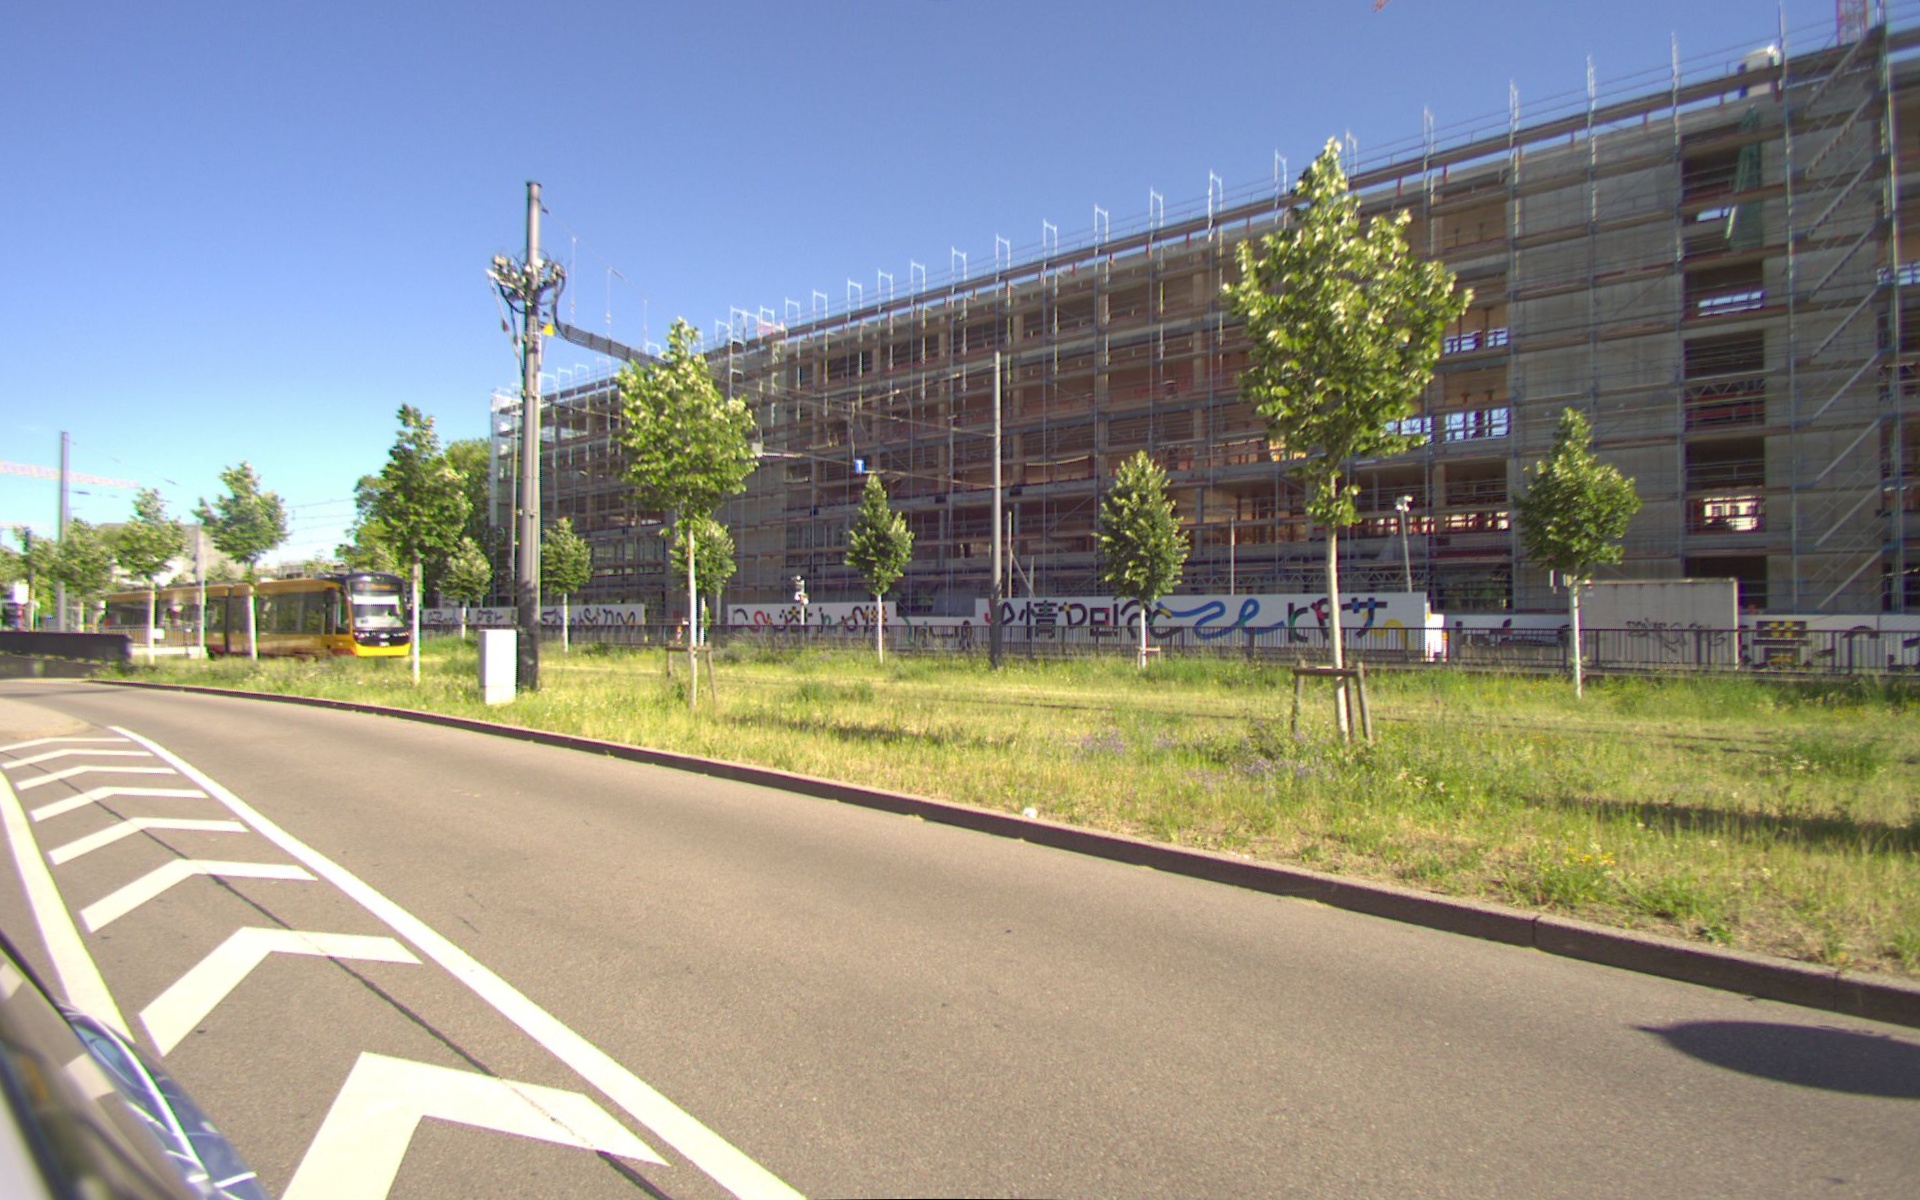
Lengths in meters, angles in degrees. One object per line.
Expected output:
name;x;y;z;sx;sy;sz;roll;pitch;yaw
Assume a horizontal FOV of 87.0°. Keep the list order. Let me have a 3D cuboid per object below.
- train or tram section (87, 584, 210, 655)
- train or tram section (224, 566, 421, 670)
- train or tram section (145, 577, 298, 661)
train or tram section;-45.809;1.128;56.898;12.775;3.666;2.787;-1;-2;39
train or tram section;-25.969;0.760;40.757;12.775;3.666;2.787;-1;-2;39
train or tram section;-35.874;0.949;48.838;12.775;3.666;2.787;-1;-2;39
